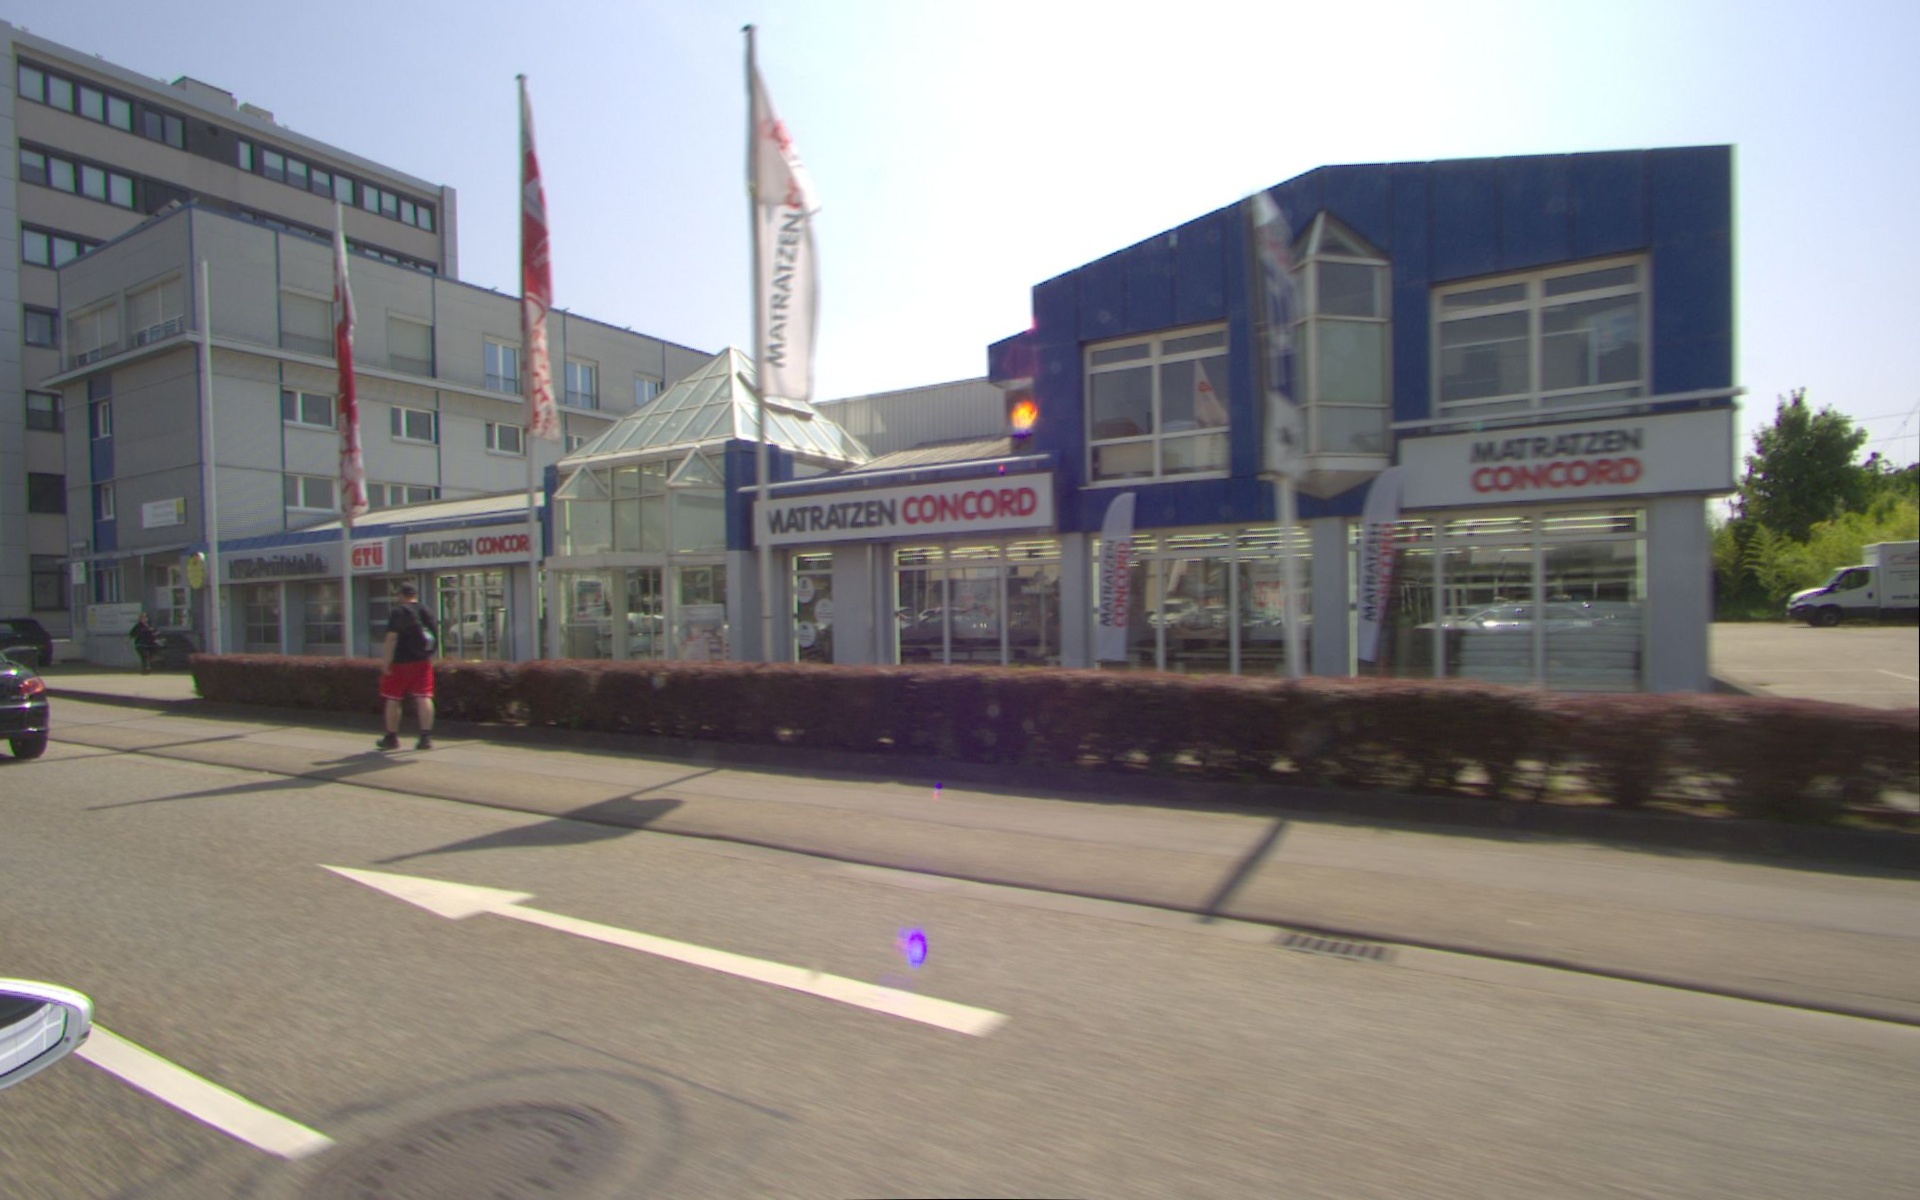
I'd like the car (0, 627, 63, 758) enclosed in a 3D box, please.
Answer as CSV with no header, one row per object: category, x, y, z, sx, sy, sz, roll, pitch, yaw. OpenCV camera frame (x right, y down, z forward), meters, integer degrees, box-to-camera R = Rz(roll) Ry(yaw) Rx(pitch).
car,-11.846,1.007,11.337,3.554,1.382,1.624,-1,-1,32

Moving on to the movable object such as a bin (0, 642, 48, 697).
movable object such as a bin,-17.281,1.268,18.404,0.643,0.932,0.549,-1,3,32

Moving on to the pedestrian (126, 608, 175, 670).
pedestrian,-22.297,1.057,27.589,0.841,1.649,0.807,0,1,34

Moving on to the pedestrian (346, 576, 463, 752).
pedestrian,-6.194,0.681,11.167,0.923,1.871,0.783,0,1,34

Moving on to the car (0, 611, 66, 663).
car,-30.126,1.154,31.526,4.136,1.551,1.841,-1,-2,32

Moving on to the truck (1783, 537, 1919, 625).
truck,33.519,-0.662,35.416,6.534,3.048,2.201,-1,1,32
